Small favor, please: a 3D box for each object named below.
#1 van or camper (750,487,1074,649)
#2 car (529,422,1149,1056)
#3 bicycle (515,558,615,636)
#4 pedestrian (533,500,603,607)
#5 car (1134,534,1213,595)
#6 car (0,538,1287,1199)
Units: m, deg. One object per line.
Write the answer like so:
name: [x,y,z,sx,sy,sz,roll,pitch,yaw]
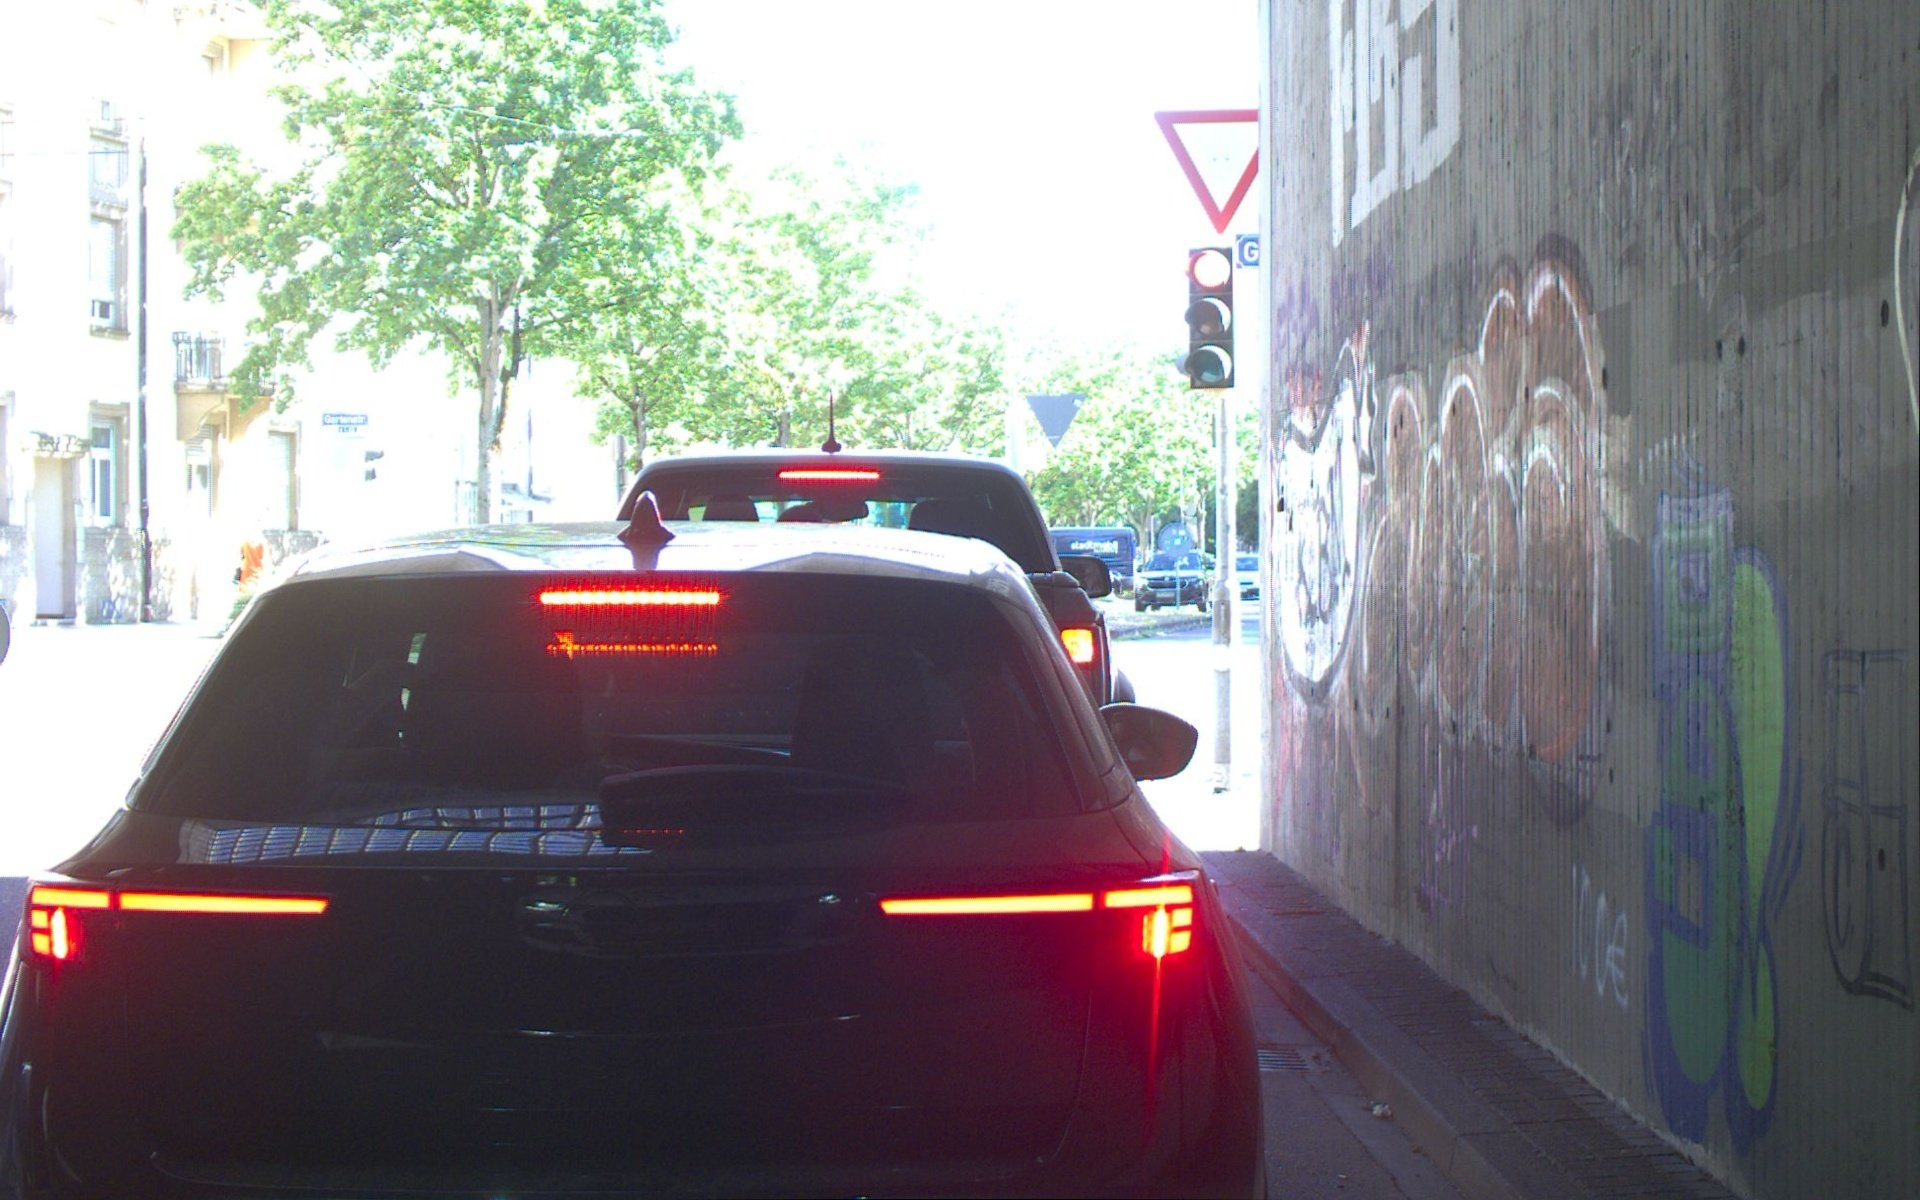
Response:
van or camper: [-0.576,-0.416,43.677,3.878,2.007,2.000,0,1,7]
car: [-0.370,0.371,12.022,1.786,1.827,3.961,1,1,0]
bicycle: [-5.883,-0.062,51.345,0.737,1.126,2.025,0,1,17]
pedestrian: [-5.855,-0.695,51.420,0.736,1.579,0.889,1,0,15]
car: [5.225,-0.883,83.808,1.599,1.447,3.794,0,1,9]
car: [-0.506,0.654,6.152,1.753,1.493,4.000,1,1,0]
